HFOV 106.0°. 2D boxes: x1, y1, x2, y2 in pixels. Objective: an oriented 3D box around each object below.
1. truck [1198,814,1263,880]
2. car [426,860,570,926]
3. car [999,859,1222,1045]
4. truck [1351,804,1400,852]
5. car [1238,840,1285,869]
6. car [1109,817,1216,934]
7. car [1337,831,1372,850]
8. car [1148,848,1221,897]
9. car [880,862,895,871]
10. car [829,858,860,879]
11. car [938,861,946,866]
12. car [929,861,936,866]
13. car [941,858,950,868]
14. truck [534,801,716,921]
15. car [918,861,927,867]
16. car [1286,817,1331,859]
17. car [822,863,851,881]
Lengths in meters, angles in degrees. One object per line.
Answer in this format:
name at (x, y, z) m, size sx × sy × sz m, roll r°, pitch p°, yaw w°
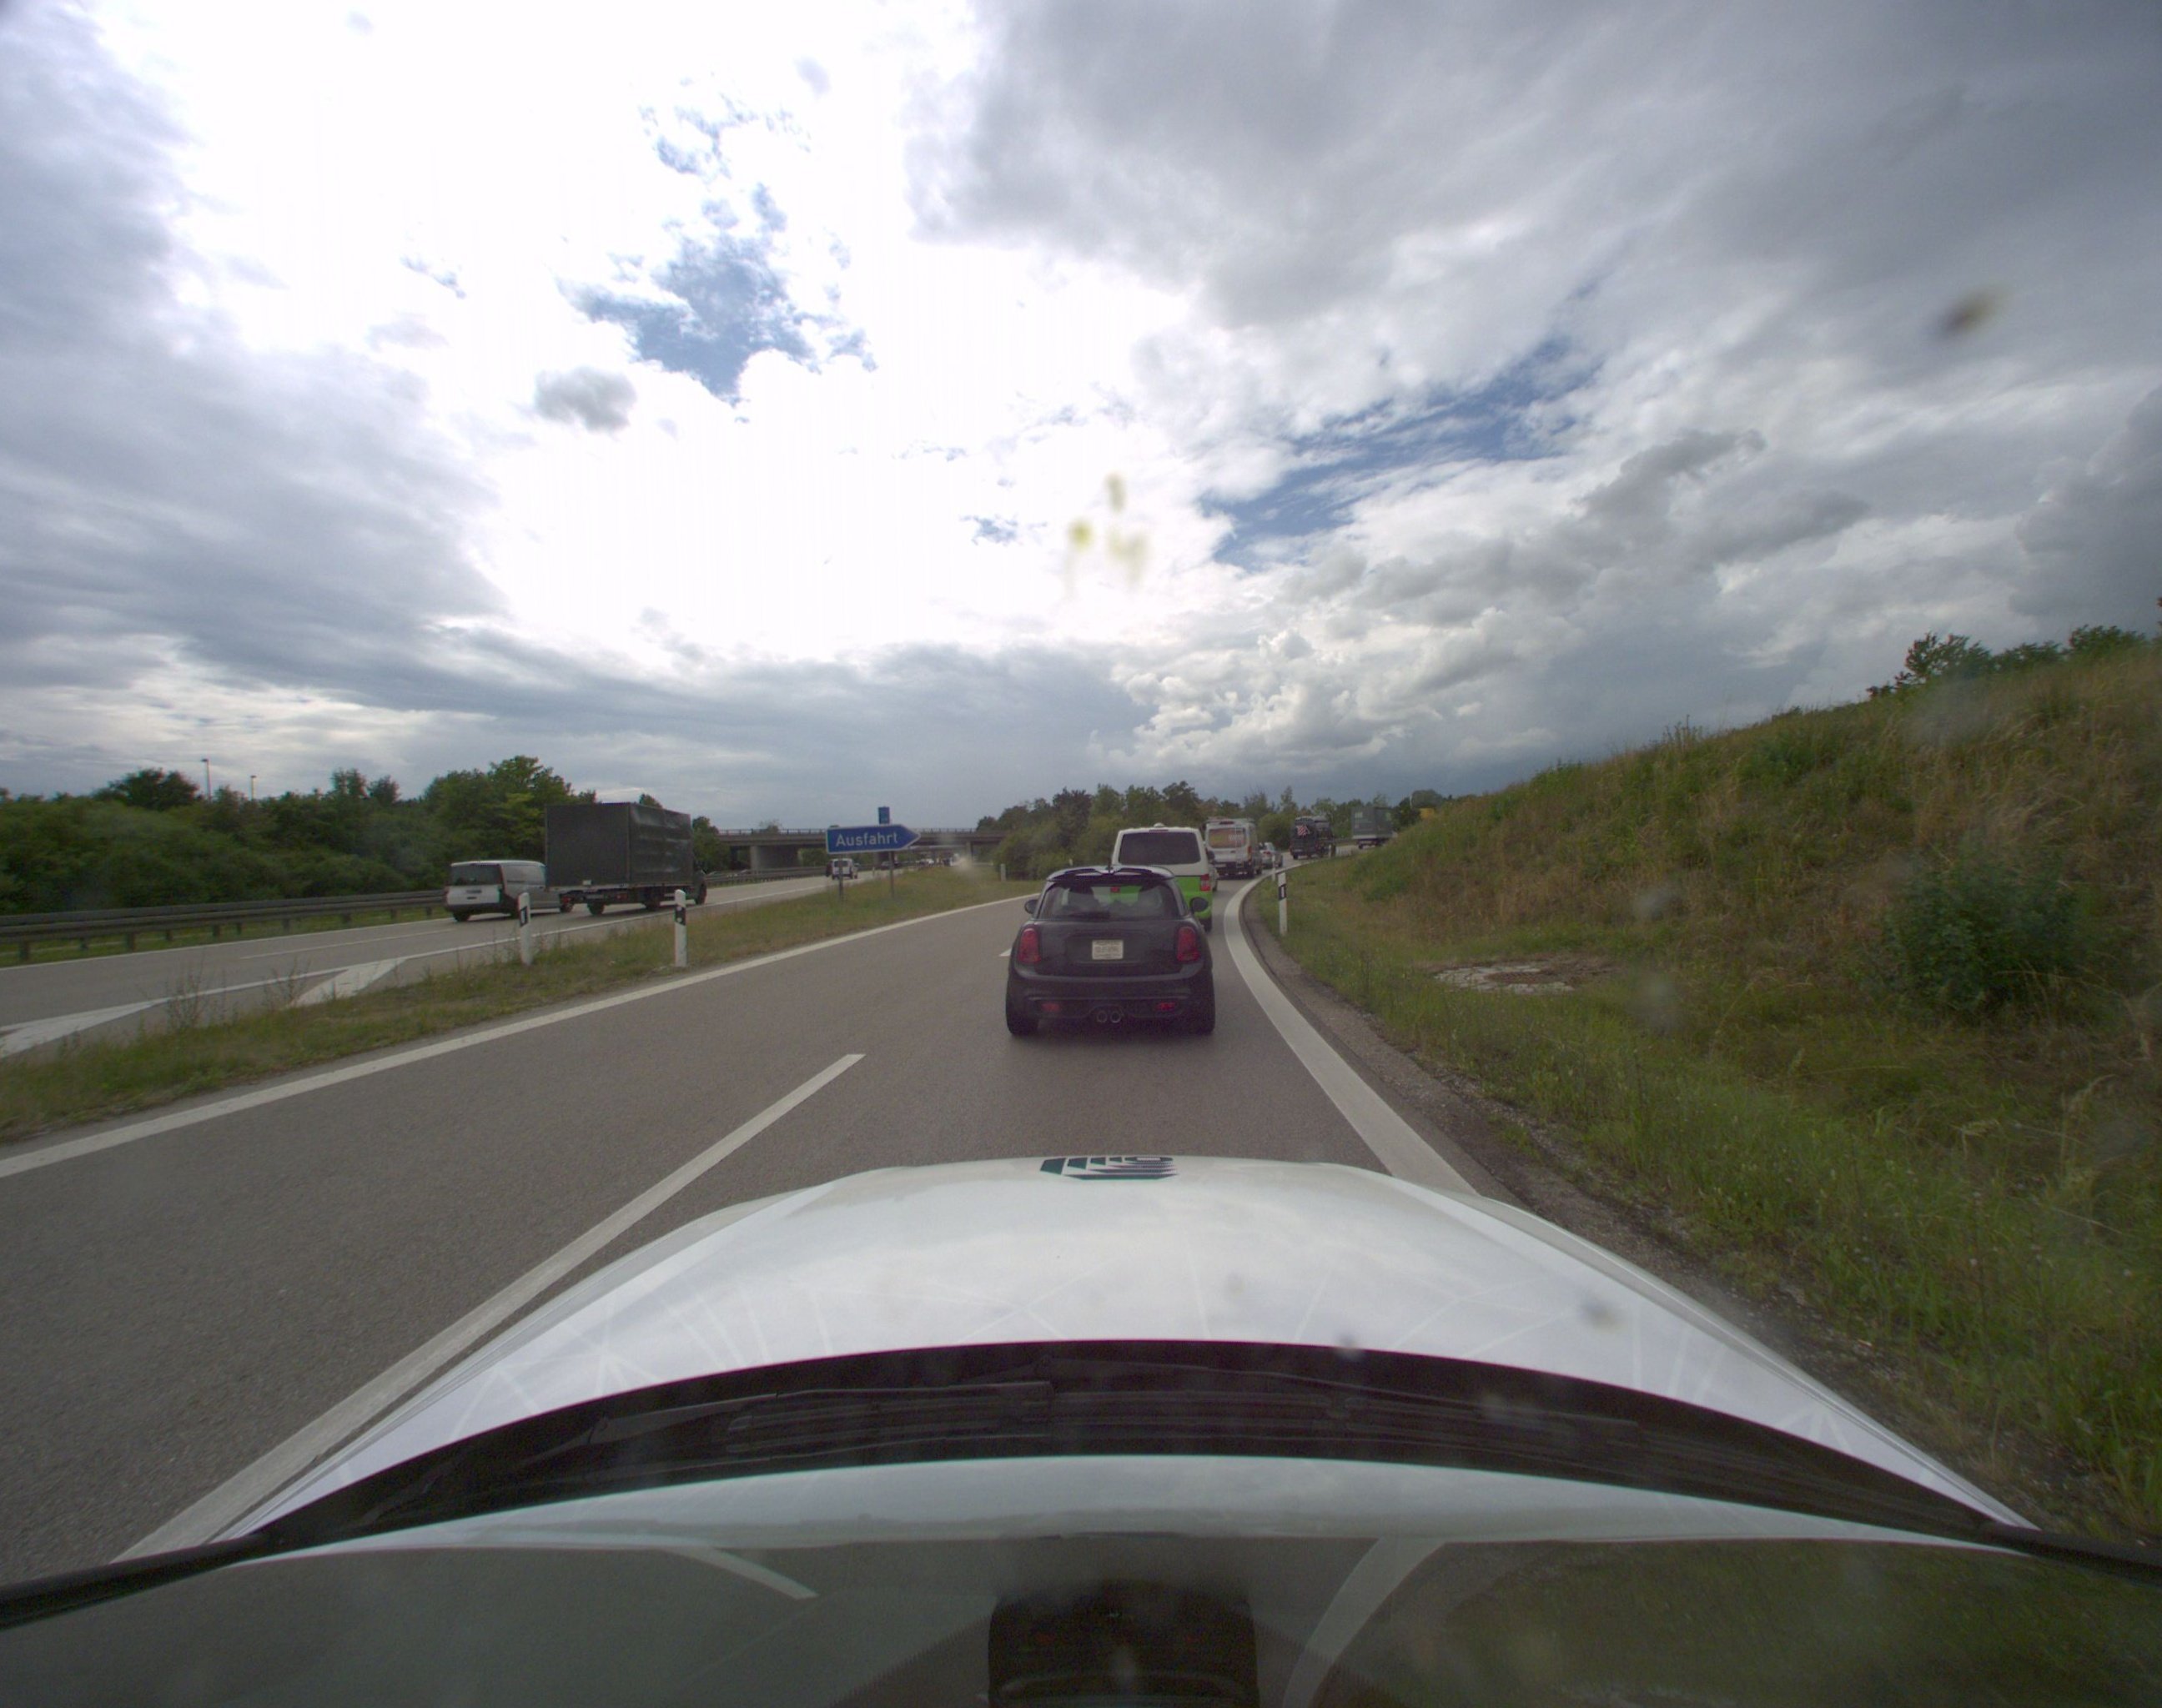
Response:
truck at (6.793, -0.337, 36.548) m, size 2.161 × 2.658 × 5.132 m, roll -2°, pitch 1°, yaw 17°
car at (-18.391, 1.158, 25.950) m, size 1.992 × 1.810 × 3.990 m, roll -2°, pitch 0°, yaw -7°
car at (0.267, 0.777, 8.234) m, size 1.721 × 1.413 × 3.726 m, roll -1°, pitch 0°, yaw 1°
truck at (25.895, -2.207, 71.395) m, size 2.207 × 3.907 × 6.054 m, roll -1°, pitch -1°, yaw 38°
car at (10.073, 0.026, 45.198) m, size 1.850 × 1.510 × 4.022 m, roll -2°, pitch 0°, yaw 22°
car at (1.742, 0.381, 16.205) m, size 1.773 × 2.013 × 4.011 m, roll -1°, pitch 0°, yaw 10°
car at (25.100, -1.213, 74.575) m, size 1.778 × 1.556 × 3.986 m, roll -2°, pitch -1°, yaw 38°
car at (3.358, 0.554, 25.857) m, size 1.749 × 1.399 × 3.740 m, roll -2°, pitch 0°, yaw 15°
car at (-31.385, 2.049, 132.148) m, size 1.720 × 1.424 × 4.785 m, roll -2°, pitch 0°, yaw -7°
car at (-21.014, 1.244, 72.437) m, size 1.874 × 1.751 × 4.477 m, roll -2°, pitch 0°, yaw -6°
car at (-36.978, 2.479, 216.026) m, size 1.778 × 1.399 × 4.541 m, roll -2°, pitch 0°, yaw -6°
car at (-44.007, 2.737, 241.149) m, size 1.779 × 1.399 × 4.293 m, roll -2°, pitch 0°, yaw -8°
car at (-28.869, 1.967, 173.640) m, size 1.993 × 2.014 × 3.987 m, roll 0°, pitch -1°, yaw -9°
truck at (-14.977, 0.237, 27.564) m, size 2.466 × 3.371 × 7.902 m, roll -3°, pitch 0°, yaw -8°
car at (-40.562, 2.505, 208.730) m, size 1.778 × 1.399 × 4.297 m, roll -2°, pitch 0°, yaw -6°
car at (15.675, -1.089, 56.043) m, size 2.085 × 2.796 × 4.025 m, roll -1°, pitch 0°, yaw 29°
car at (-26.465, 1.894, 88.325) m, size 1.992 × 1.785 × 5.399 m, roll -2°, pitch 0°, yaw -7°
